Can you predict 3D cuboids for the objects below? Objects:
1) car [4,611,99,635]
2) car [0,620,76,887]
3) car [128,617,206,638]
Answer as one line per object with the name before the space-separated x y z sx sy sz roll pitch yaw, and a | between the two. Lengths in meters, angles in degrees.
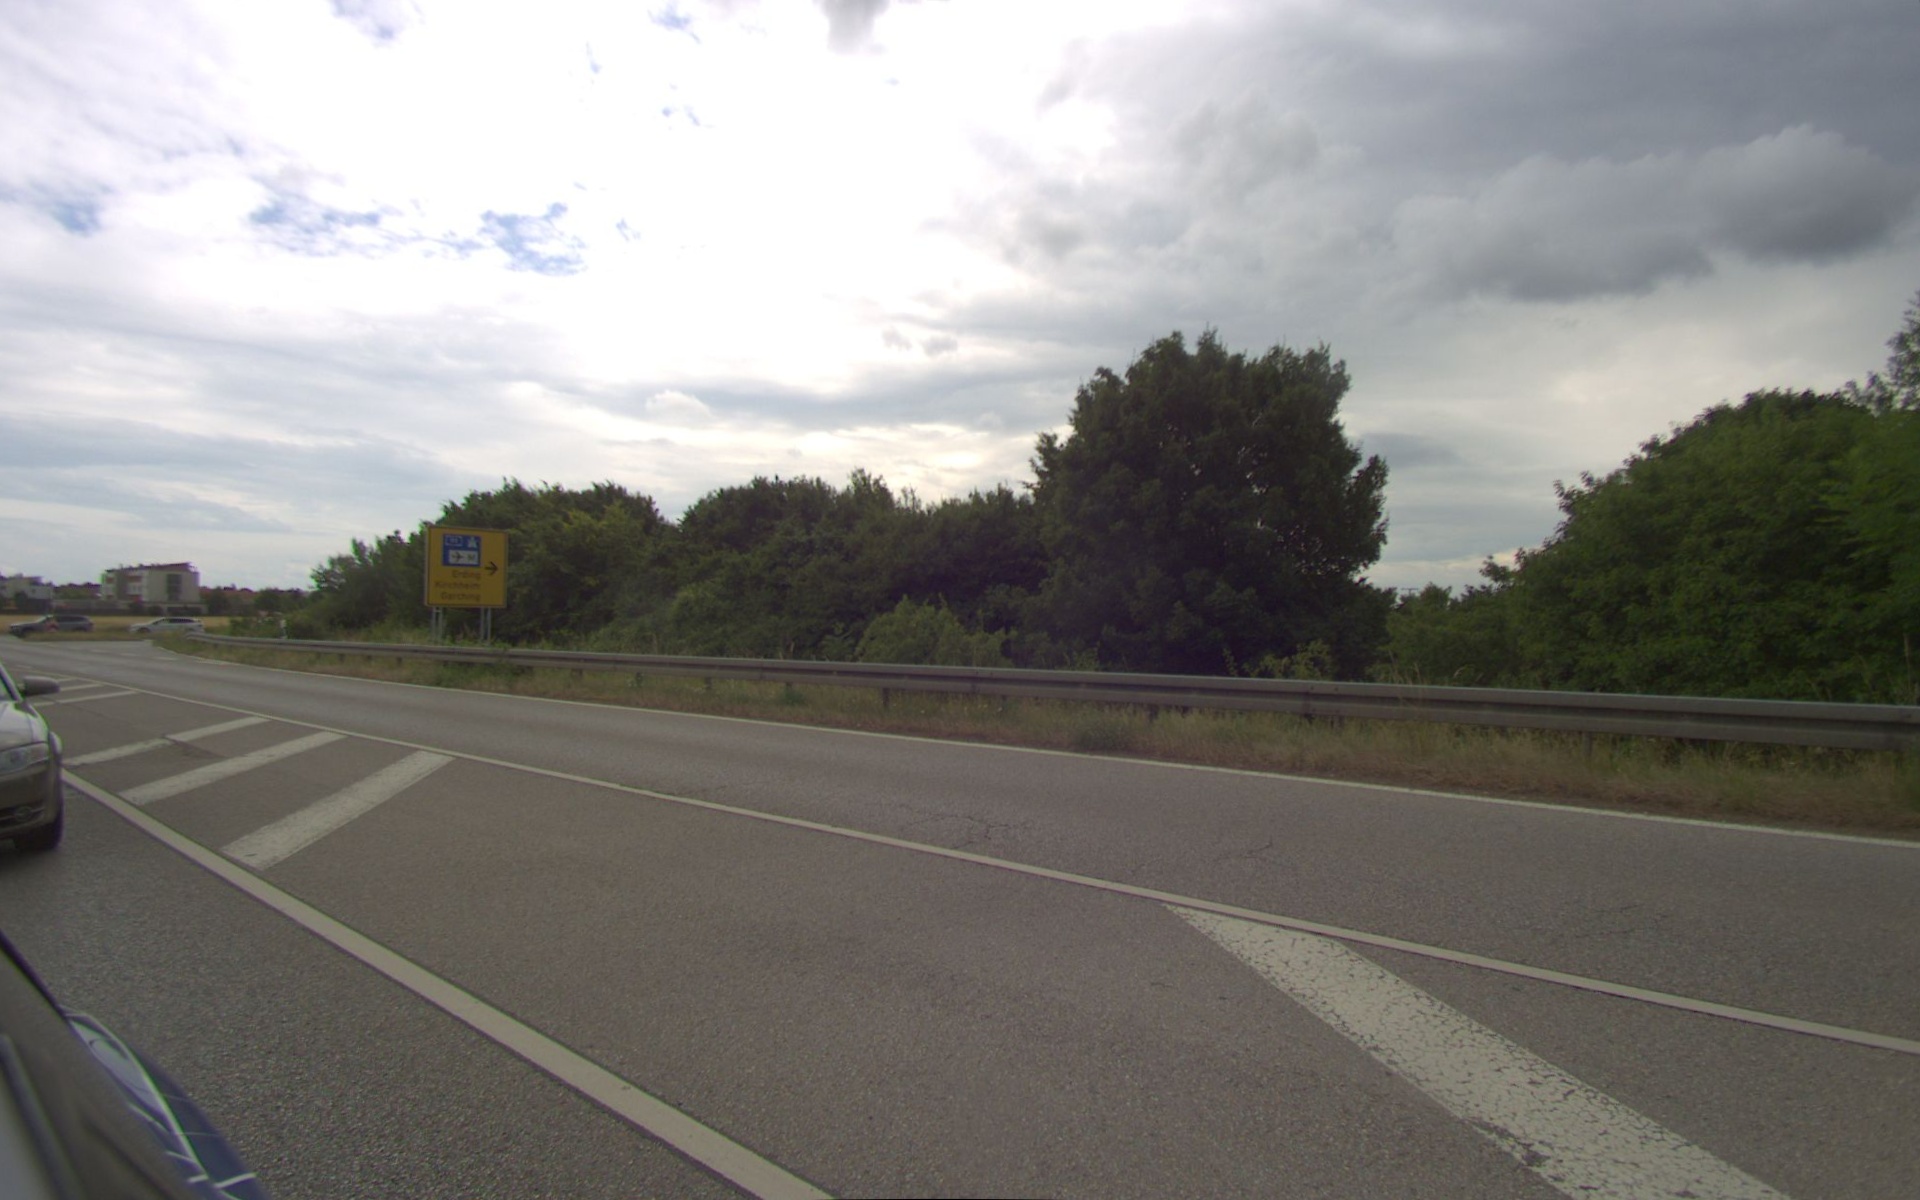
car | -65.042 1.640 72.506 1.997 1.702 4.758 -1 -1 37
car | -7.196 0.863 6.491 4.201 1.455 1.708 -1 -2 41
car | -60.752 2.093 77.556 4.605 1.510 2.003 1 -1 -40
